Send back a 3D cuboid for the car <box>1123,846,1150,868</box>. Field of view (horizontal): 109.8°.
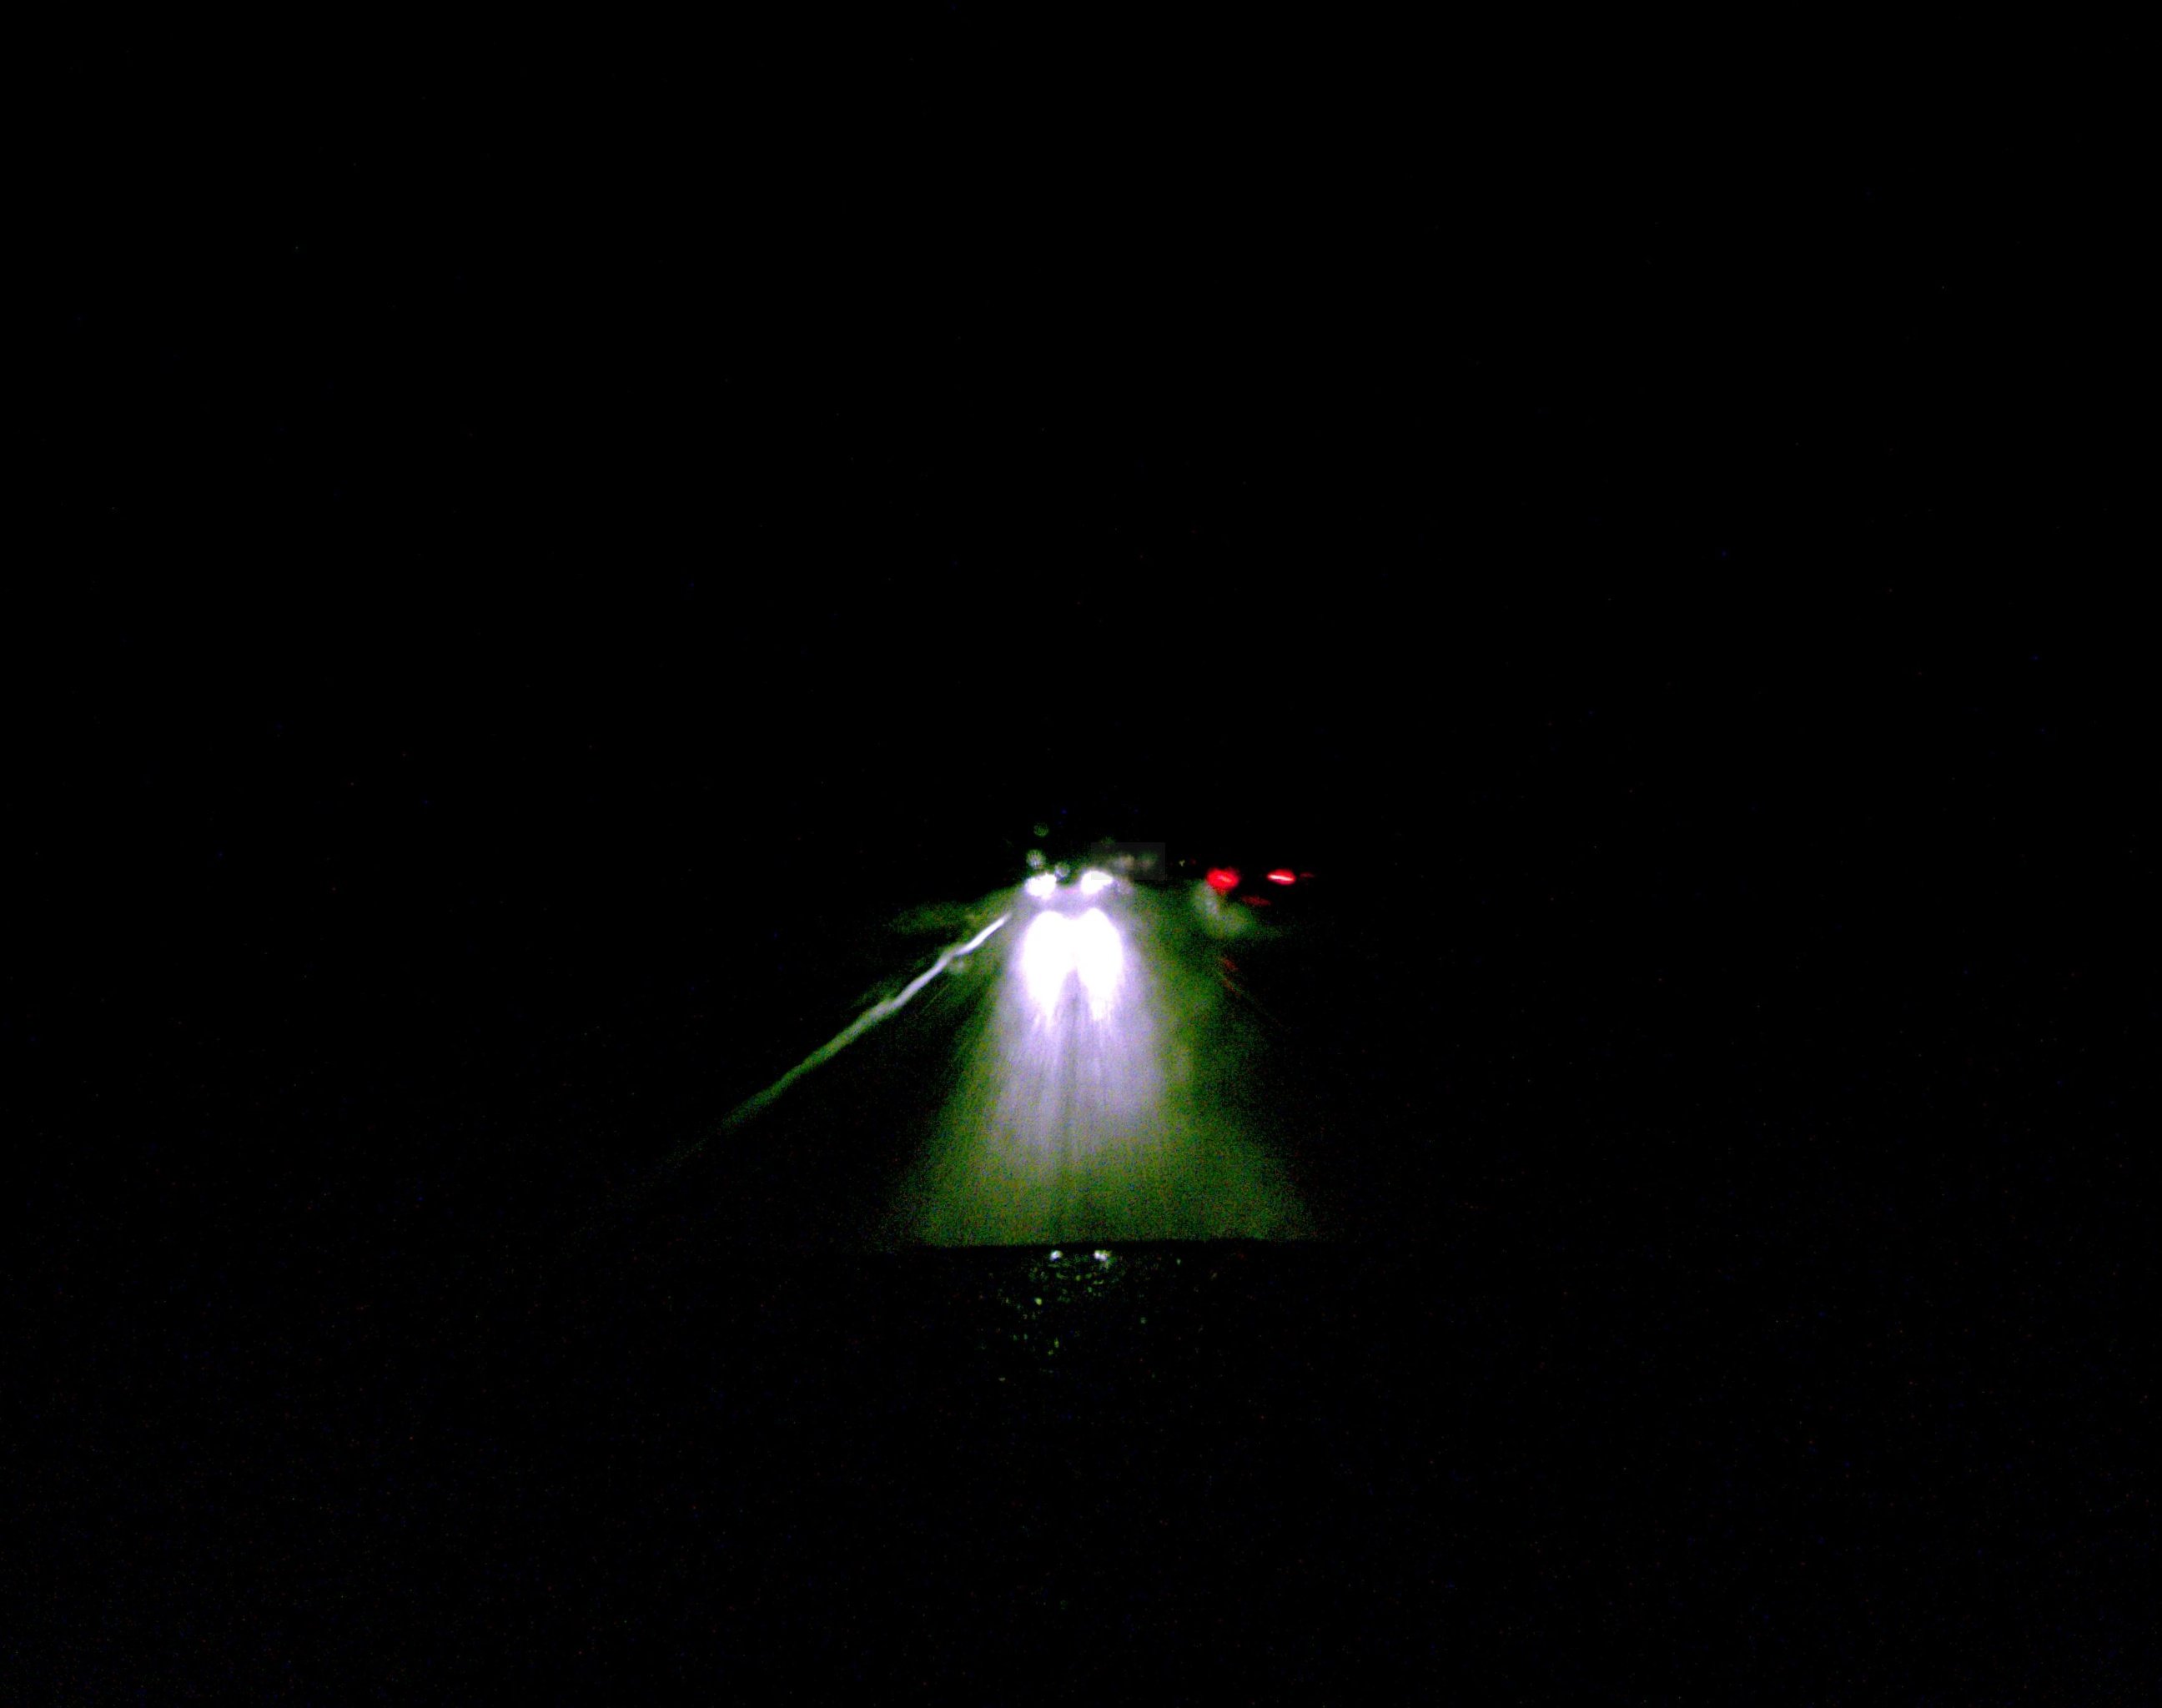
[{"bbox_3d":[4.473,0.223,61.747,1.864,1.628,4.143,-2,0,1],"label":"car"}]

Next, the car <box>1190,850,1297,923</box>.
[{"bbox_3d":[3.817,0.720,18.443,1.777,1.501,3.689,-3,0,1],"label":"car"}]

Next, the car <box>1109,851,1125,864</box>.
[{"bbox_3d":[4.537,0.467,95.153,1.790,1.501,3.600,-2,0,1],"label":"car"}]

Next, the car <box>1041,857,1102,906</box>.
[{"bbox_3d":[-0.260,0.900,26.352,1.744,1.501,3.601,-3,0,3],"label":"car"}]
